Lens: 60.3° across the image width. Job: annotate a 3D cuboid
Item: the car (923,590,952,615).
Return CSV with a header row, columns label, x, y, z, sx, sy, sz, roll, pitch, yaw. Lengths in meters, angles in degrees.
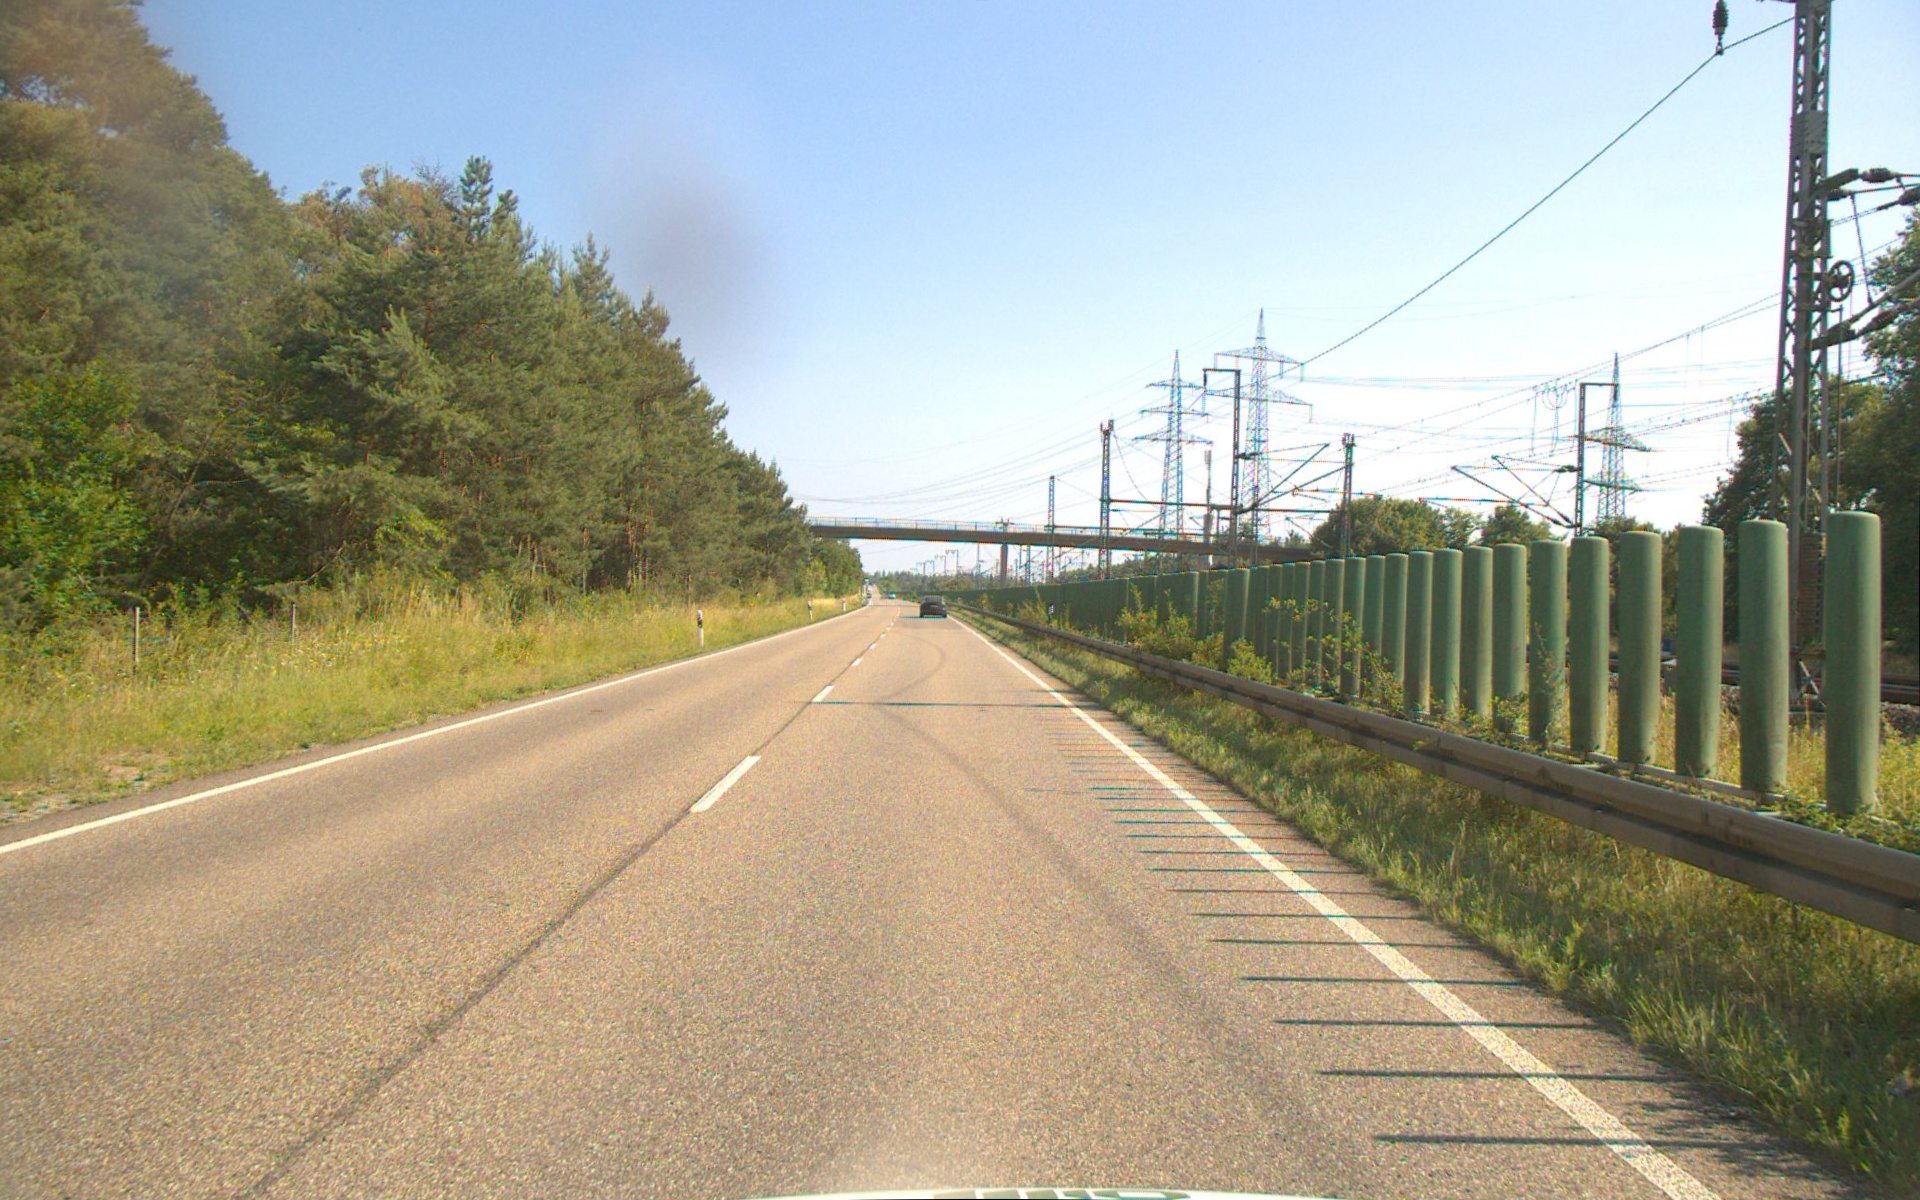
label,x,y,z,sx,sy,sz,roll,pitch,yaw
car,-1.525,0.169,111.615,1.822,1.670,3.998,0,0,-3
